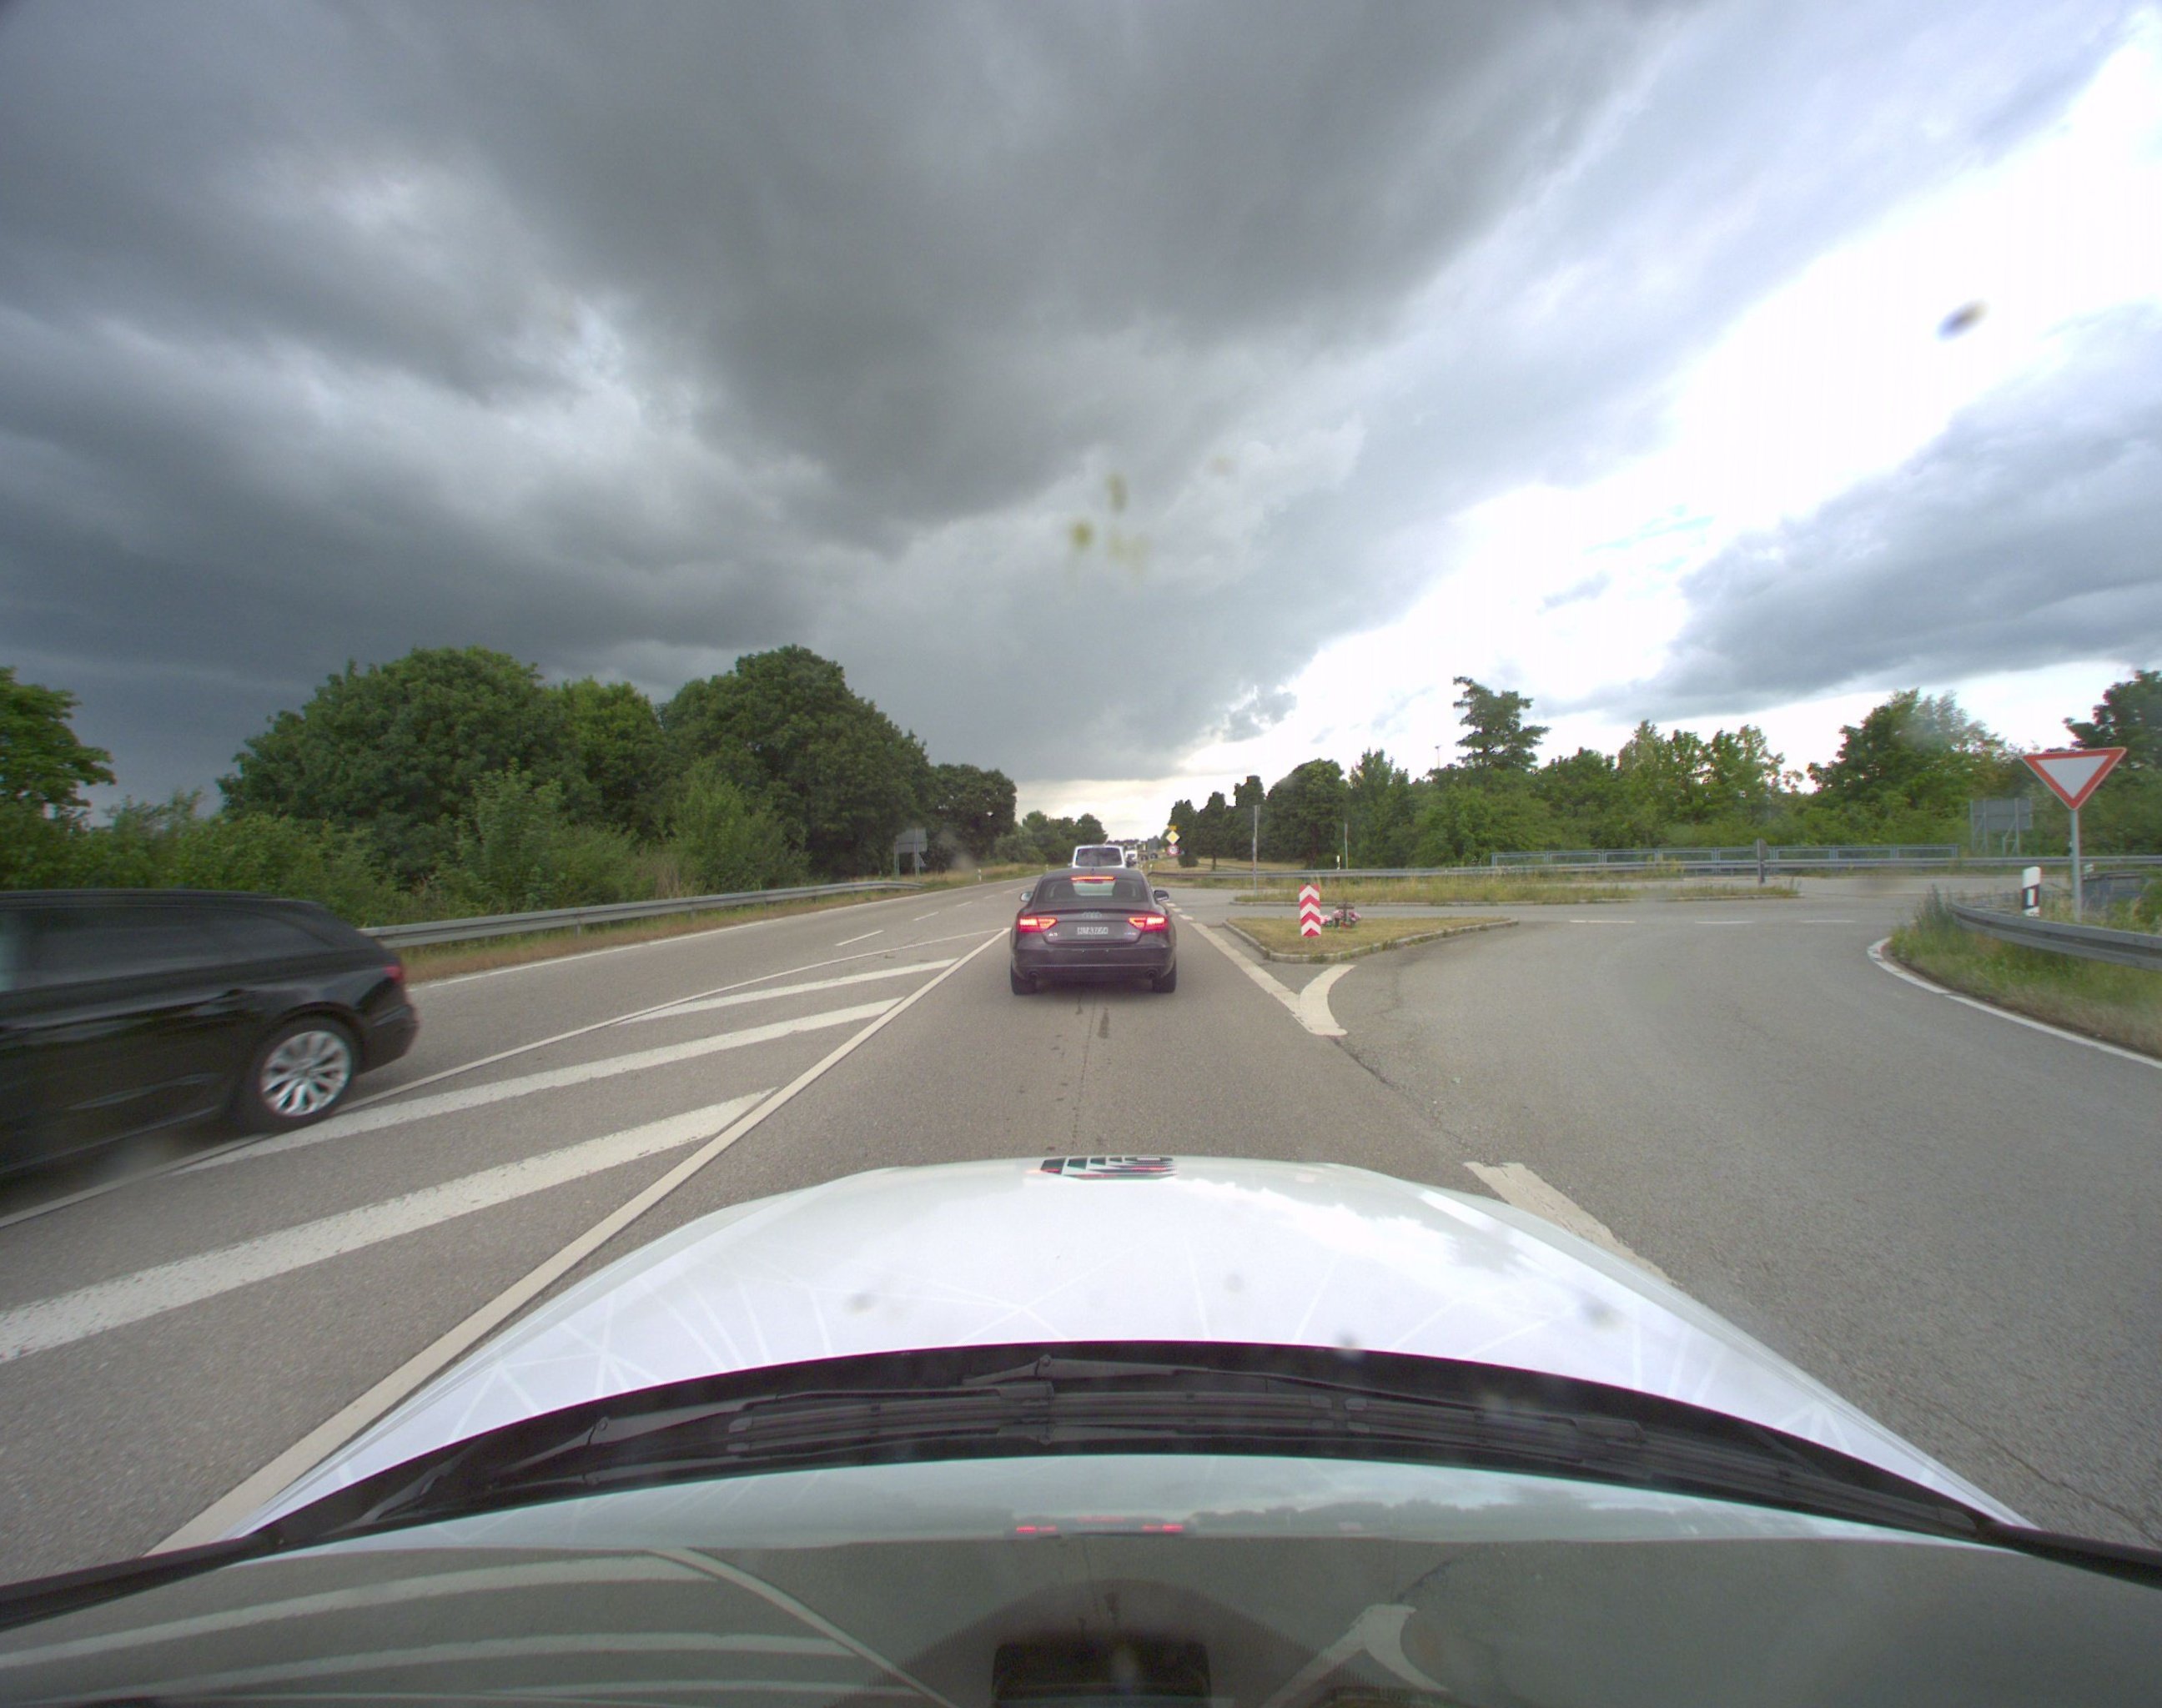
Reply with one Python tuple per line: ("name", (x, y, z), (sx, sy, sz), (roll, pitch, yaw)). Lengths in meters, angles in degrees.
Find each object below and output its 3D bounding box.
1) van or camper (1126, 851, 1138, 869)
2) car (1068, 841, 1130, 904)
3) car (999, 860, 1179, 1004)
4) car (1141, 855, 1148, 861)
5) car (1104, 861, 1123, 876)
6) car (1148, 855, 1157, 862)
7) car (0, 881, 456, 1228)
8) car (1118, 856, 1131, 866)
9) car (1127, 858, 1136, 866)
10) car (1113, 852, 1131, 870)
("van or camper", (9.968, 1.141, 159.046), (2.330, 3.481, 5.724), (-1, -1, 4))
("car", (0.610, 0.564, 26.690), (1.832, 1.882, 4.002), (-1, 0, 2))
("car", (0.143, 0.793, 10.093), (1.776, 1.376, 4.002), (-1, 0, 2))
("car", (15.283, 0.910, 196.081), (1.712, 1.451, 4.003), (0, 0, 3))
("car", (3.378, 1.465, 84.136), (1.787, 1.464, 3.253), (-1, -1, 5))
("car", (19.524, 1.251, 222.679), (1.986, 2.014, 4.001), (-1, 0, 1))
("car", (-5.417, 0.887, 3.413), (1.812, 1.374, 4.616), (-1, 0, 4))
("car", (6.815, 1.064, 128.346), (1.726, 1.514, 3.755), (-2, -1, 8))
("car", (8.788, 1.362, 140.682), (1.251, 1.353, 3.473), (-2, -1, 8))
("car", (4.969, 0.836, 98.663), (1.984, 2.088, 4.005), (-1, -1, 5))
